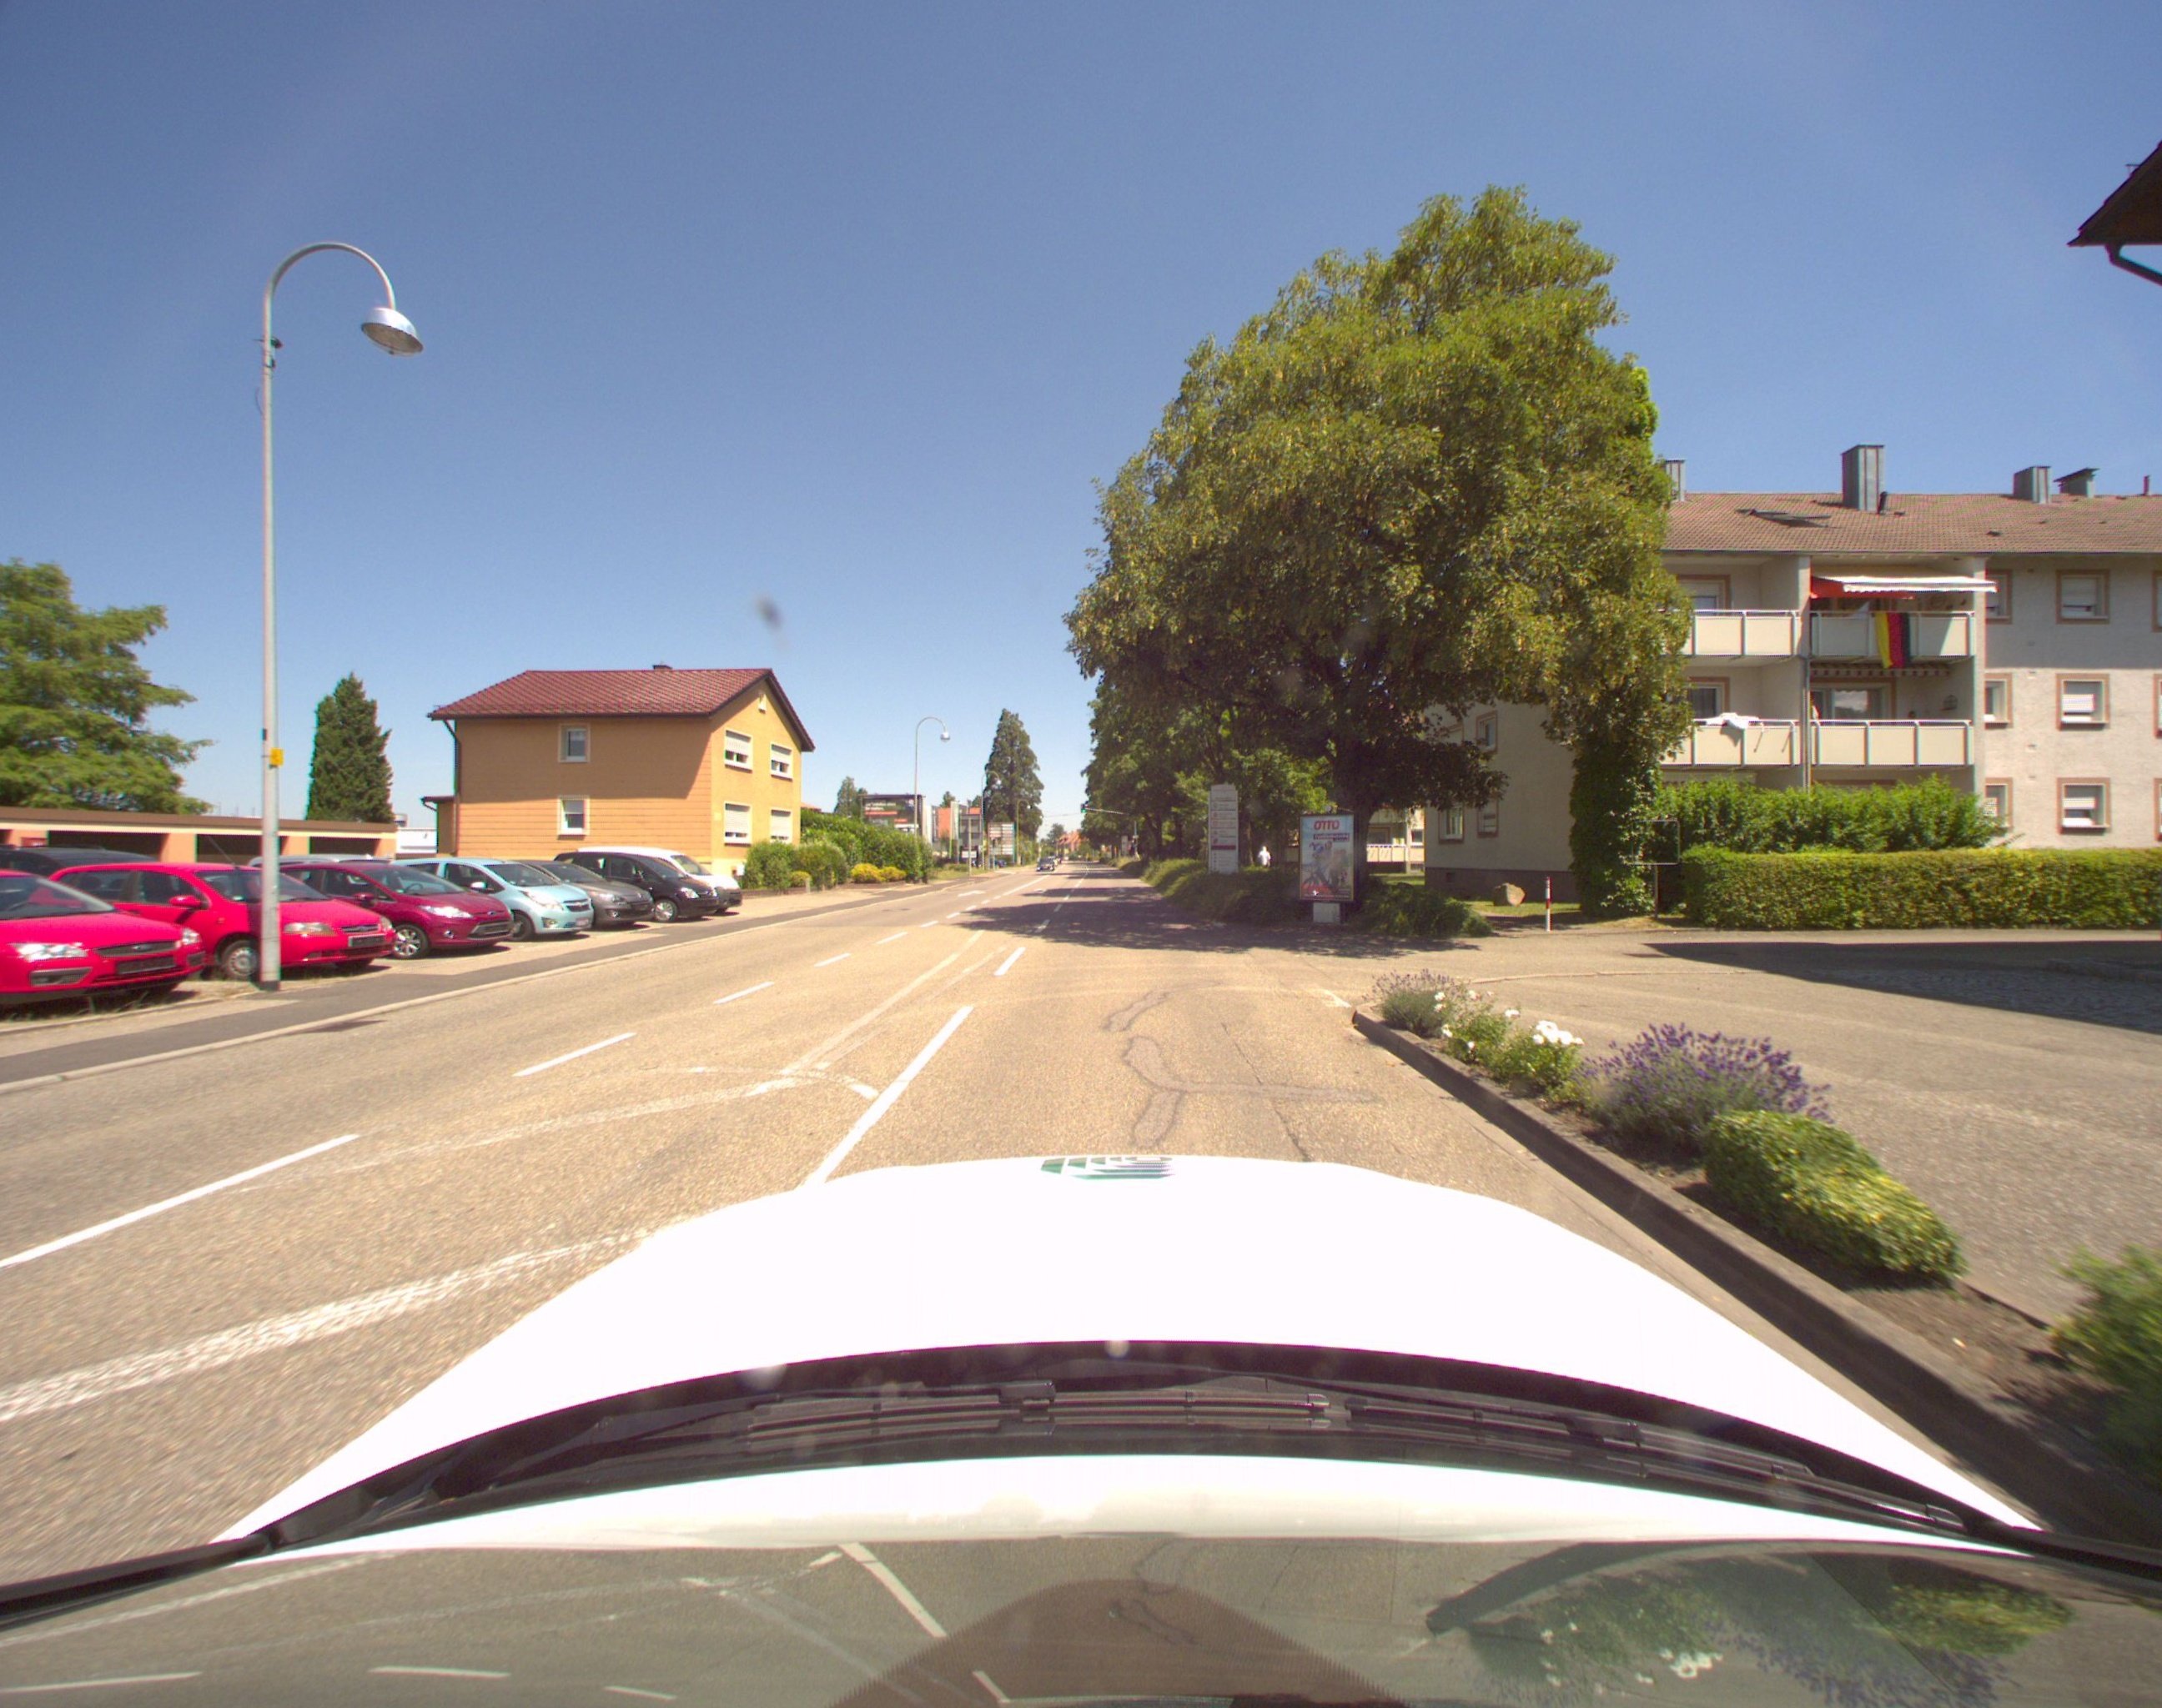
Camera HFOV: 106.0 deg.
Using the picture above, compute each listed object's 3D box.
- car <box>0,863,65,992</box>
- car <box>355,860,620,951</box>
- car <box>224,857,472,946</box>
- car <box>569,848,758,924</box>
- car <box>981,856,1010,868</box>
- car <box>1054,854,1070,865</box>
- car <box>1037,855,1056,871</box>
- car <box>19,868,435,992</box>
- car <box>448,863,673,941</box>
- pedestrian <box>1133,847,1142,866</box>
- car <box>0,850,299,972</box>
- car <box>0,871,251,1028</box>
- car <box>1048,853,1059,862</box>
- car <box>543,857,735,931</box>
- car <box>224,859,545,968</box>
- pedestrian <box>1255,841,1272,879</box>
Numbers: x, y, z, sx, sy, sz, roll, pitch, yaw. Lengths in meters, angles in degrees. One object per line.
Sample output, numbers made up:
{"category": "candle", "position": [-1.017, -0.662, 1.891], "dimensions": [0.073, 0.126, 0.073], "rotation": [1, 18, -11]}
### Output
{"category": "car", "position": [-16.145, 1.007, 10.488], "dimensions": [3.653, 1.709, 1.892], "rotation": [-1, -1, -1]}
{"category": "car", "position": [-11.330, 0.935, 15.768], "dimensions": [3.652, 1.581, 1.922], "rotation": [-1, -1, -1]}
{"category": "car", "position": [-15.984, 0.995, 17.930], "dimensions": [3.652, 1.776, 1.922], "rotation": [-1, -1, -1]}
{"category": "car", "position": [-11.281, 0.835, 22.245], "dimensions": [4.084, 1.898, 1.998], "rotation": [-1, -1, -3]}
{"category": "car", "position": [-11.000, 1.013, 104.741], "dimensions": [3.479, 1.427, 1.600], "rotation": [-1, 0, 0]}
{"category": "car", "position": [-2.881, 0.770, 124.472], "dimensions": [1.986, 1.487, 4.312], "rotation": [-2, 1, 2]}
{"category": "car", "position": [-3.589, 0.939, 84.842], "dimensions": [1.704, 1.495, 4.279], "rotation": [-1, 0, 1]}
{"category": "car", "position": [-11.472, 0.965, 11.175], "dimensions": [3.652, 1.457, 1.892], "rotation": [-1, -1, -1]}
{"category": "car", "position": [-11.283, 1.002, 17.875], "dimensions": [3.652, 1.531, 1.922], "rotation": [-1, -1, -1]}
{"category": "pedestrian", "position": [5.329, 0.214, 76.741], "dimensions": [0.608, 1.751, 0.565], "rotation": [-1, -1, 17]}
{"category": "car", "position": [-15.602, 0.880, 13.277], "dimensions": [3.837, 1.805, 1.858], "rotation": [-1, -1, -1]}
{"category": "car", "position": [-11.787, 0.958, 8.631], "dimensions": [4.111, 1.444, 1.827], "rotation": [-1, -1, 1]}
{"category": "car", "position": [-5.285, 0.749, 159.409], "dimensions": [1.872, 1.717, 4.311], "rotation": [-1, 0, 1]}
{"category": "car", "position": [-10.810, 0.942, 20.141], "dimensions": [3.652, 1.672, 1.922], "rotation": [-1, -1, -1]}
{"category": "car", "position": [-11.364, 0.921, 13.508], "dimensions": [3.652, 1.605, 1.881], "rotation": [-1, -1, -1]}
{"category": "pedestrian", "position": [9.215, 0.301, 41.039], "dimensions": [0.700, 1.914, 0.661], "rotation": [-2, 0, 5]}
